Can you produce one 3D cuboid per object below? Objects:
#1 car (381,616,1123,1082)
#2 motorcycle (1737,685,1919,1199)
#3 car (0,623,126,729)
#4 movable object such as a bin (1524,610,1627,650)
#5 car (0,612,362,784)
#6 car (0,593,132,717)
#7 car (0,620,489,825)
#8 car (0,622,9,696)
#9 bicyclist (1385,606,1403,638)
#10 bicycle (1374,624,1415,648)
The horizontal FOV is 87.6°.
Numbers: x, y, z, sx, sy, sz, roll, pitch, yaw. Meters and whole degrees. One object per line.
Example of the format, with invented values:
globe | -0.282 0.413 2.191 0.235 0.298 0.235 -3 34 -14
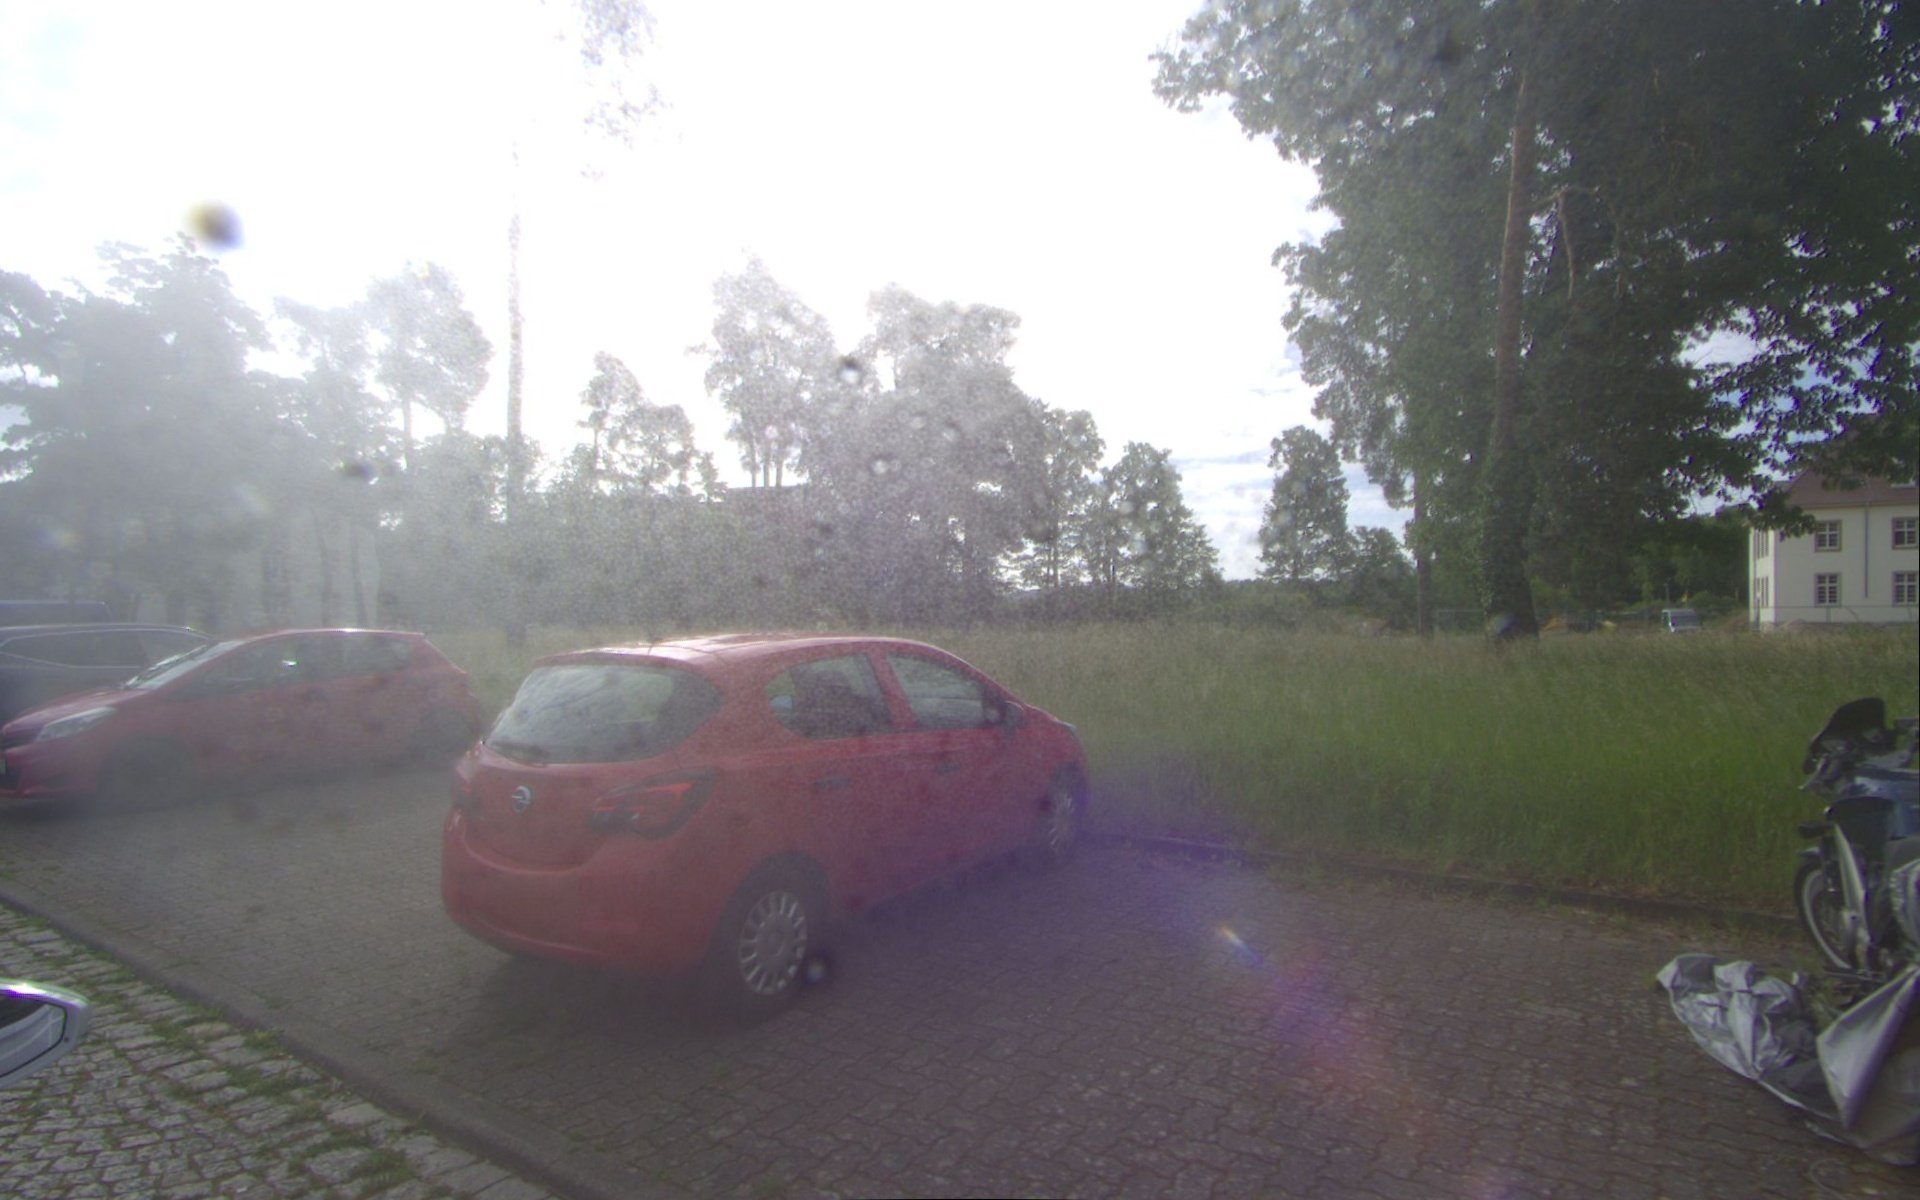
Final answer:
car | -0.707 0.871 5.419 1.754 1.479 3.816 -1 0 33
motorcycle | 3.121 0.961 3.145 0.783 1.201 2.323 -1 0 31
car | -14.494 1.112 14.278 1.591 1.469 3.665 -1 0 31
movable object such as a bin | 43.641 2.155 71.146 2.145 2.689 5.946 1 -2 -31
car | -9.121 0.958 11.004 1.726 1.573 4.021 -1 0 31
car | -16.477 0.898 15.916 1.904 1.980 4.744 -1 0 32
car | -6.845 0.983 9.705 1.727 1.479 3.782 -1 0 34
car | -20.710 1.205 18.949 1.502 1.469 3.664 -1 0 32
bicyclist | 23.114 1.174 53.339 0.762 1.717 0.724 0 -1 33
bicycle | 23.127 1.915 53.297 1.906 1.244 0.721 -1 -1 34
